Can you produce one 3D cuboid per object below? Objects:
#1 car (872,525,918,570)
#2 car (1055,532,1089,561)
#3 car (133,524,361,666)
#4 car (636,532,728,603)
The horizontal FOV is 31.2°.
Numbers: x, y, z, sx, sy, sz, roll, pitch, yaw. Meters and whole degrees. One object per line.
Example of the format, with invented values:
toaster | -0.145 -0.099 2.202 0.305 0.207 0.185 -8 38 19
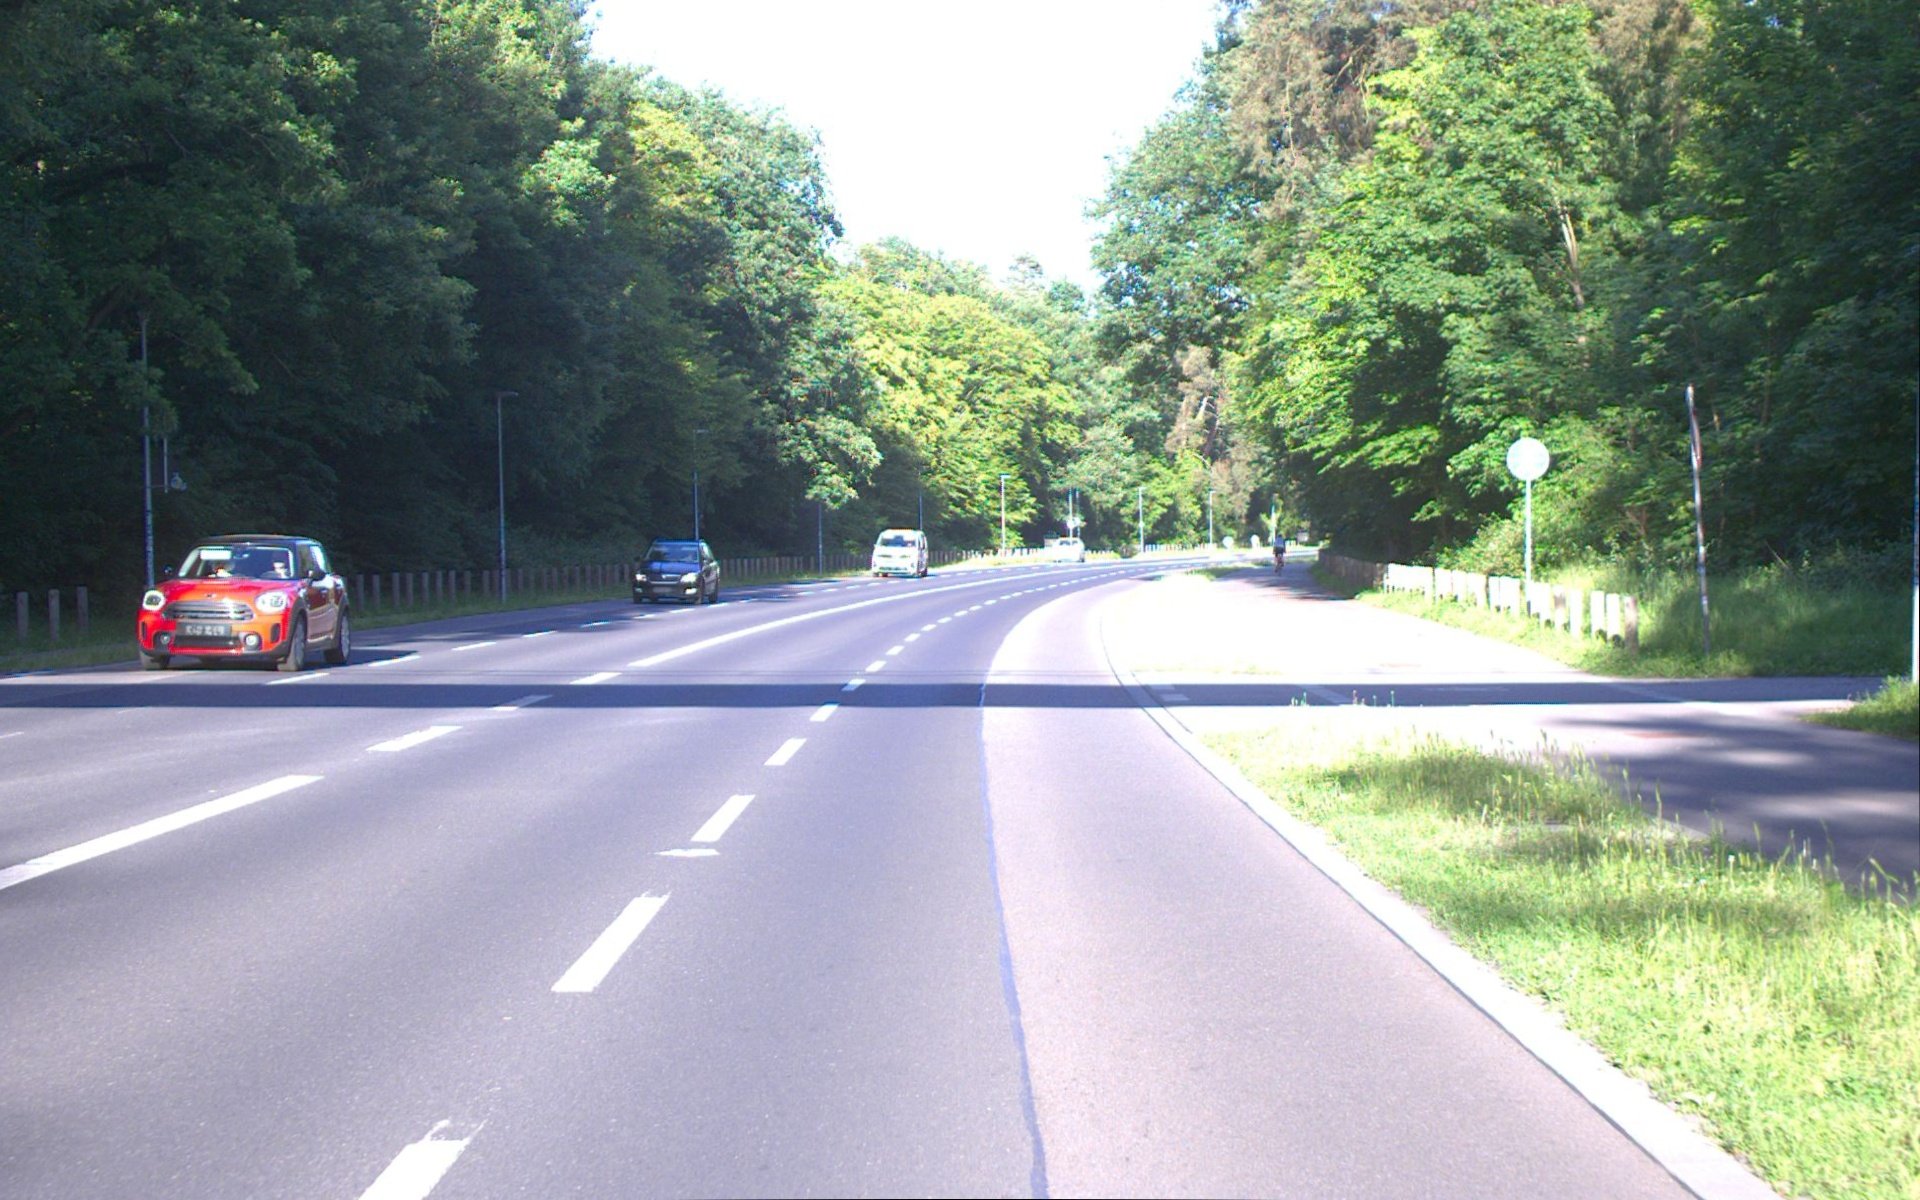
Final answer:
car | -2.514 -2.055 133.825 1.705 1.703 4.000 0 1 0
car | 6.720 -3.198 206.340 1.784 1.703 3.999 0 1 5
car | -8.405 -0.106 40.835 1.761 1.577 4.168 1 1 1
car | -6.548 -0.794 81.322 1.722 1.568 4.177 1 1 1
